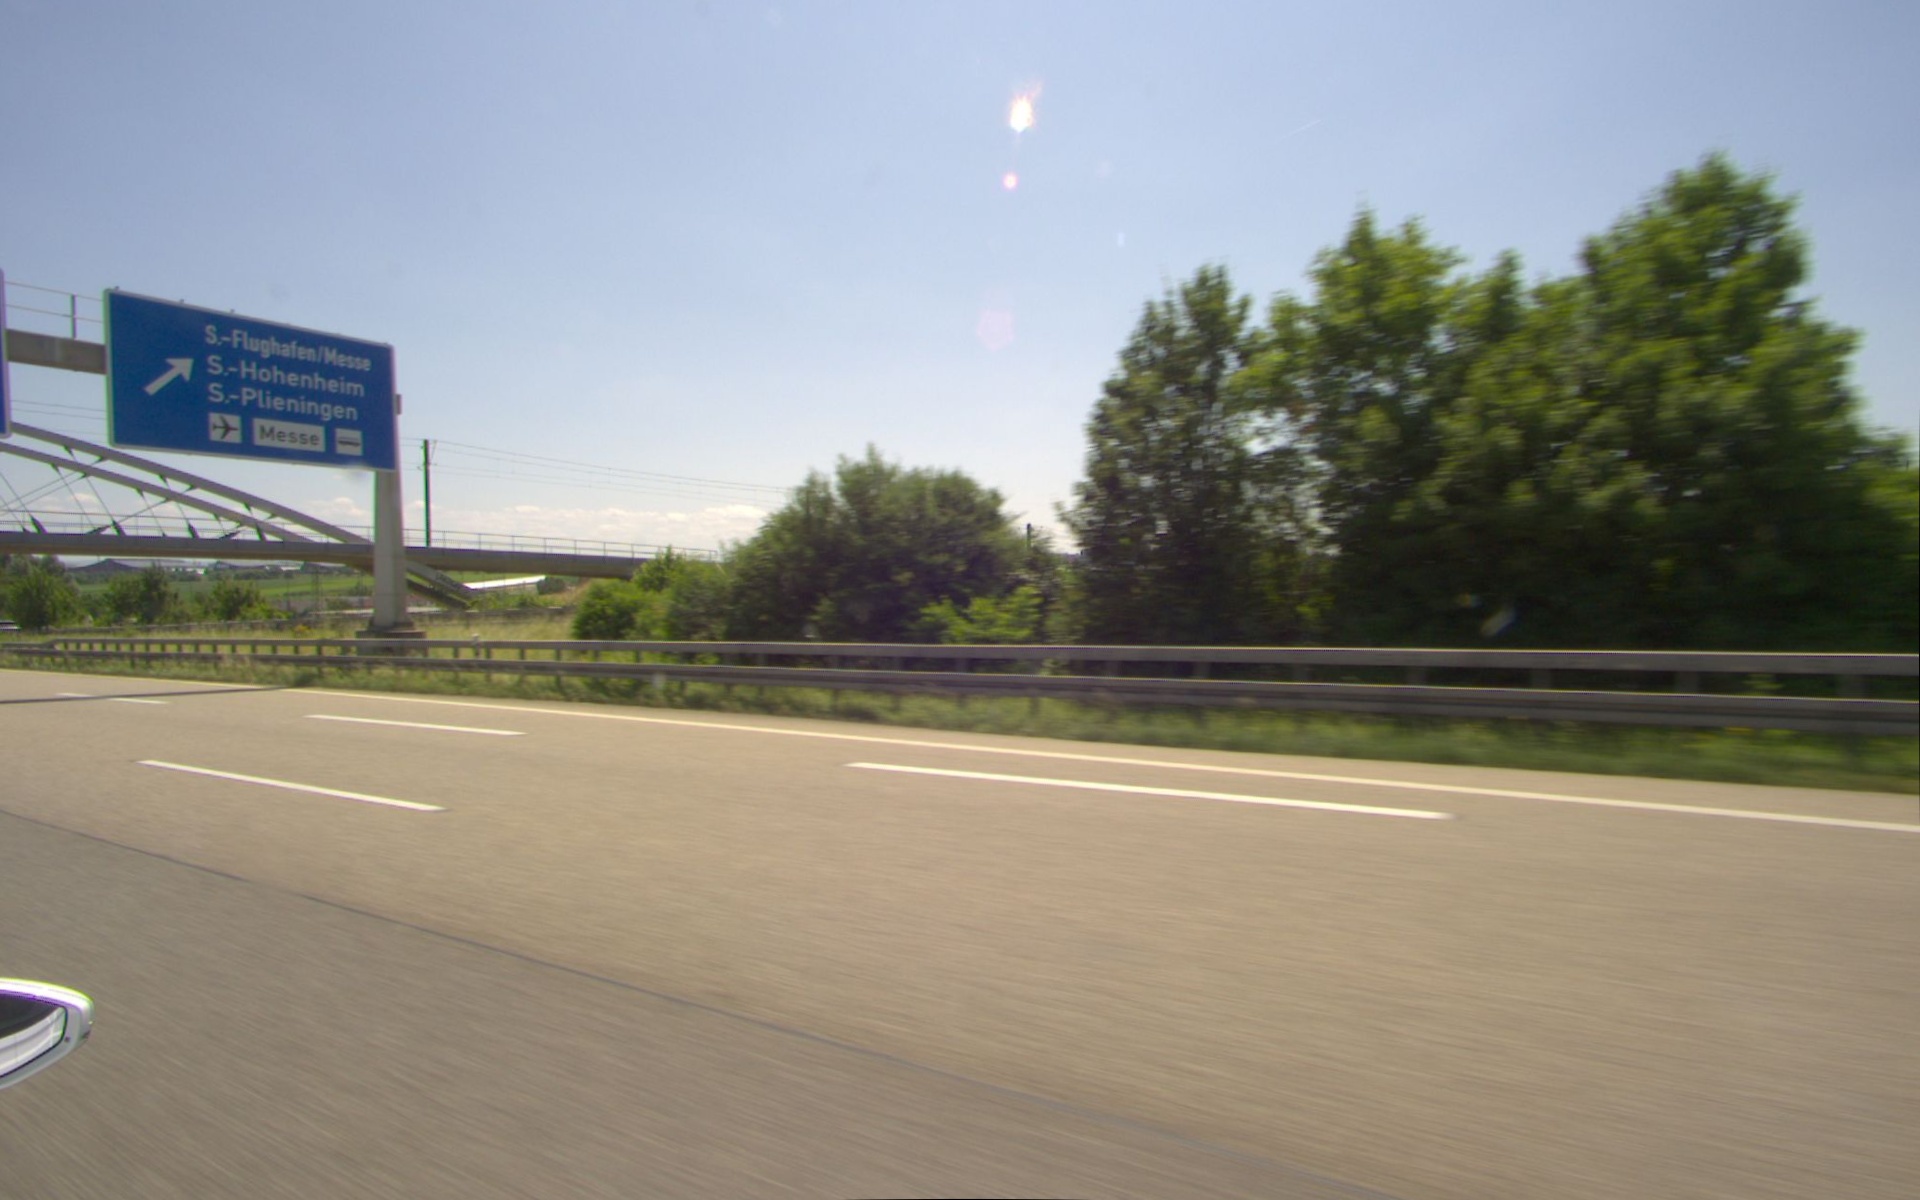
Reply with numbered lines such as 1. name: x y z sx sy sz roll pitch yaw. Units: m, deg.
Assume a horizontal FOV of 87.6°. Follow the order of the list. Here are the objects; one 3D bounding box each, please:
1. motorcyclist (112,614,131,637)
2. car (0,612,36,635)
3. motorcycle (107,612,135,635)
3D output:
1. motorcyclist: -49.984 1.531 59.697 0.866 1.384 0.667 -1 -1 33
2. car: -66.770 1.687 70.459 4.072 1.595 1.695 -1 -2 34
3. motorcycle: -50.057 1.409 59.711 1.843 1.384 0.758 -1 -1 32
